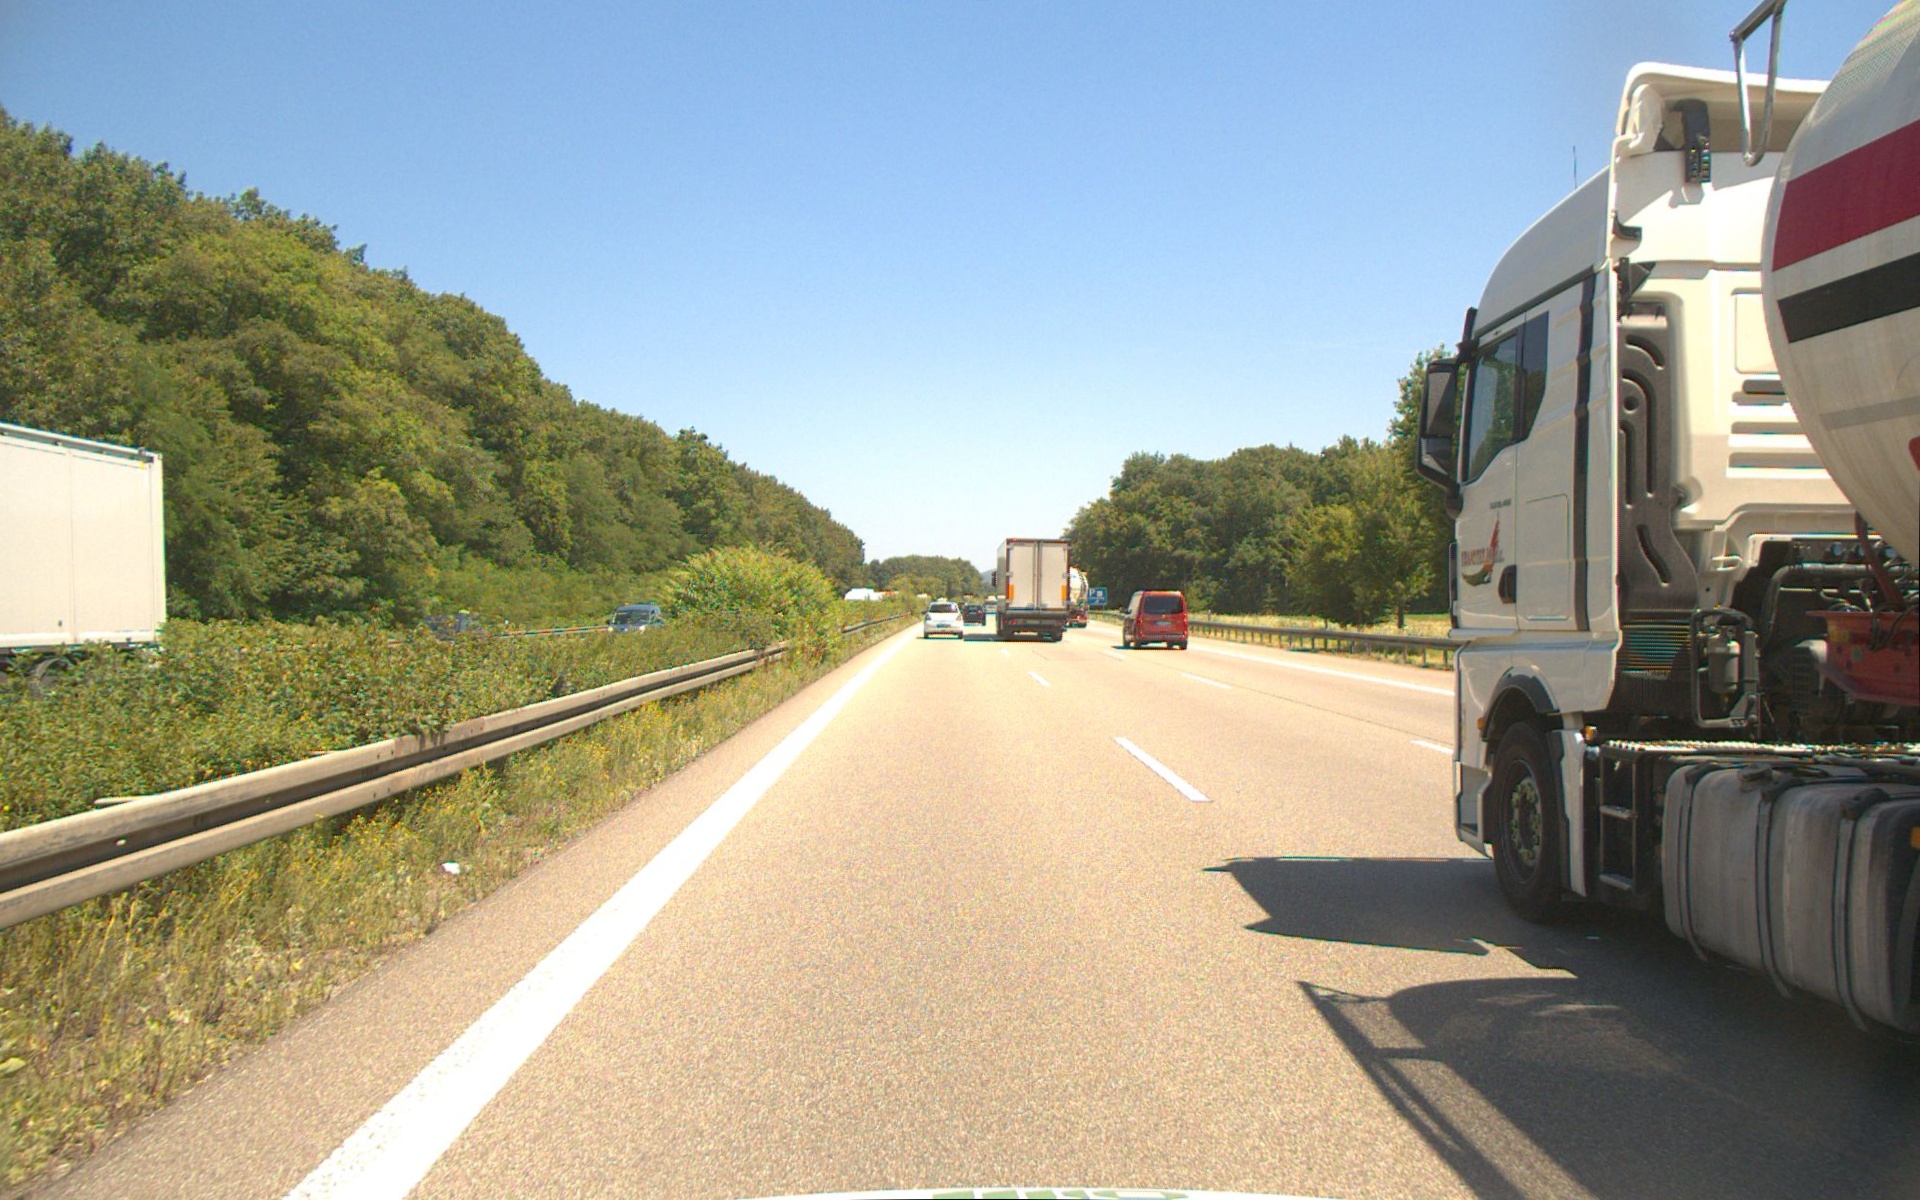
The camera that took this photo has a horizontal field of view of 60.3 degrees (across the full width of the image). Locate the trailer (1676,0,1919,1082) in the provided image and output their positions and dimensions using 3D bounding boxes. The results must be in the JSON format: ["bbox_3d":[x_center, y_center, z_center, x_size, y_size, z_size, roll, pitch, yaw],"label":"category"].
[{"bbox_3d":[4.228,-0.734,0.219,2.733,4.278,12.350,0,0,-1],"label":"trailer"}]

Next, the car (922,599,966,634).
[{"bbox_3d":[-0.692,0.689,70.292,1.775,1.429,3.315,0,0,-3],"label":"car"}]

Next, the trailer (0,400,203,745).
[{"bbox_3d":[-12.723,-0.315,18.120,2.812,4.079,13.515,0,0,-1],"label":"trailer"}]

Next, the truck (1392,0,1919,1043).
[{"bbox_3d":[4.106,-0.734,7.830,2.733,4.278,4.999,0,0,-1],"label":"truck"}]

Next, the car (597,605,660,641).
[{"bbox_3d":[-13.123,0.906,65.724,1.758,1.362,3.999,0,0,-1],"label":"car"}]

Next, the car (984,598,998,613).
[{"bbox_3d":[3.785,0.701,202.902,1.634,1.796,3.999,0,0,-1],"label":"car"}]

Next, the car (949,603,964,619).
[{"bbox_3d":[-0.487,1.454,222.578,2.064,2.049,3.999,1,0,-1],"label":"car"}]

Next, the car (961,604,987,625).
[{"bbox_3d":[0.940,0.968,111.983,1.634,1.312,3.999,0,0,-1],"label":"car"}]

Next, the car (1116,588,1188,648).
[{"bbox_3d":[6.793,0.611,59.035,1.818,2.038,5.521,1,0,-1],"label":"car"}]

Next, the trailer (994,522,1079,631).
[{"bbox_3d":[3.120,-0.932,70.882,3.157,4.216,12.352,0,0,1],"label":"trailer"}]

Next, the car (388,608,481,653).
[{"bbox_3d":[-16.944,0.961,53.501,1.758,1.362,3.999,0,0,-1],"label":"car"}]

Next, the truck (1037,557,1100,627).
[{"bbox_3d":[7.161,-0.500,110.545,3.159,4.421,10.802,0,0,-2],"label":"truck"}]

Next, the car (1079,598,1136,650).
[{"bbox_3d":[5.963,0.942,67.309,1.953,2.049,4.000,0,0,0],"label":"car"}]
